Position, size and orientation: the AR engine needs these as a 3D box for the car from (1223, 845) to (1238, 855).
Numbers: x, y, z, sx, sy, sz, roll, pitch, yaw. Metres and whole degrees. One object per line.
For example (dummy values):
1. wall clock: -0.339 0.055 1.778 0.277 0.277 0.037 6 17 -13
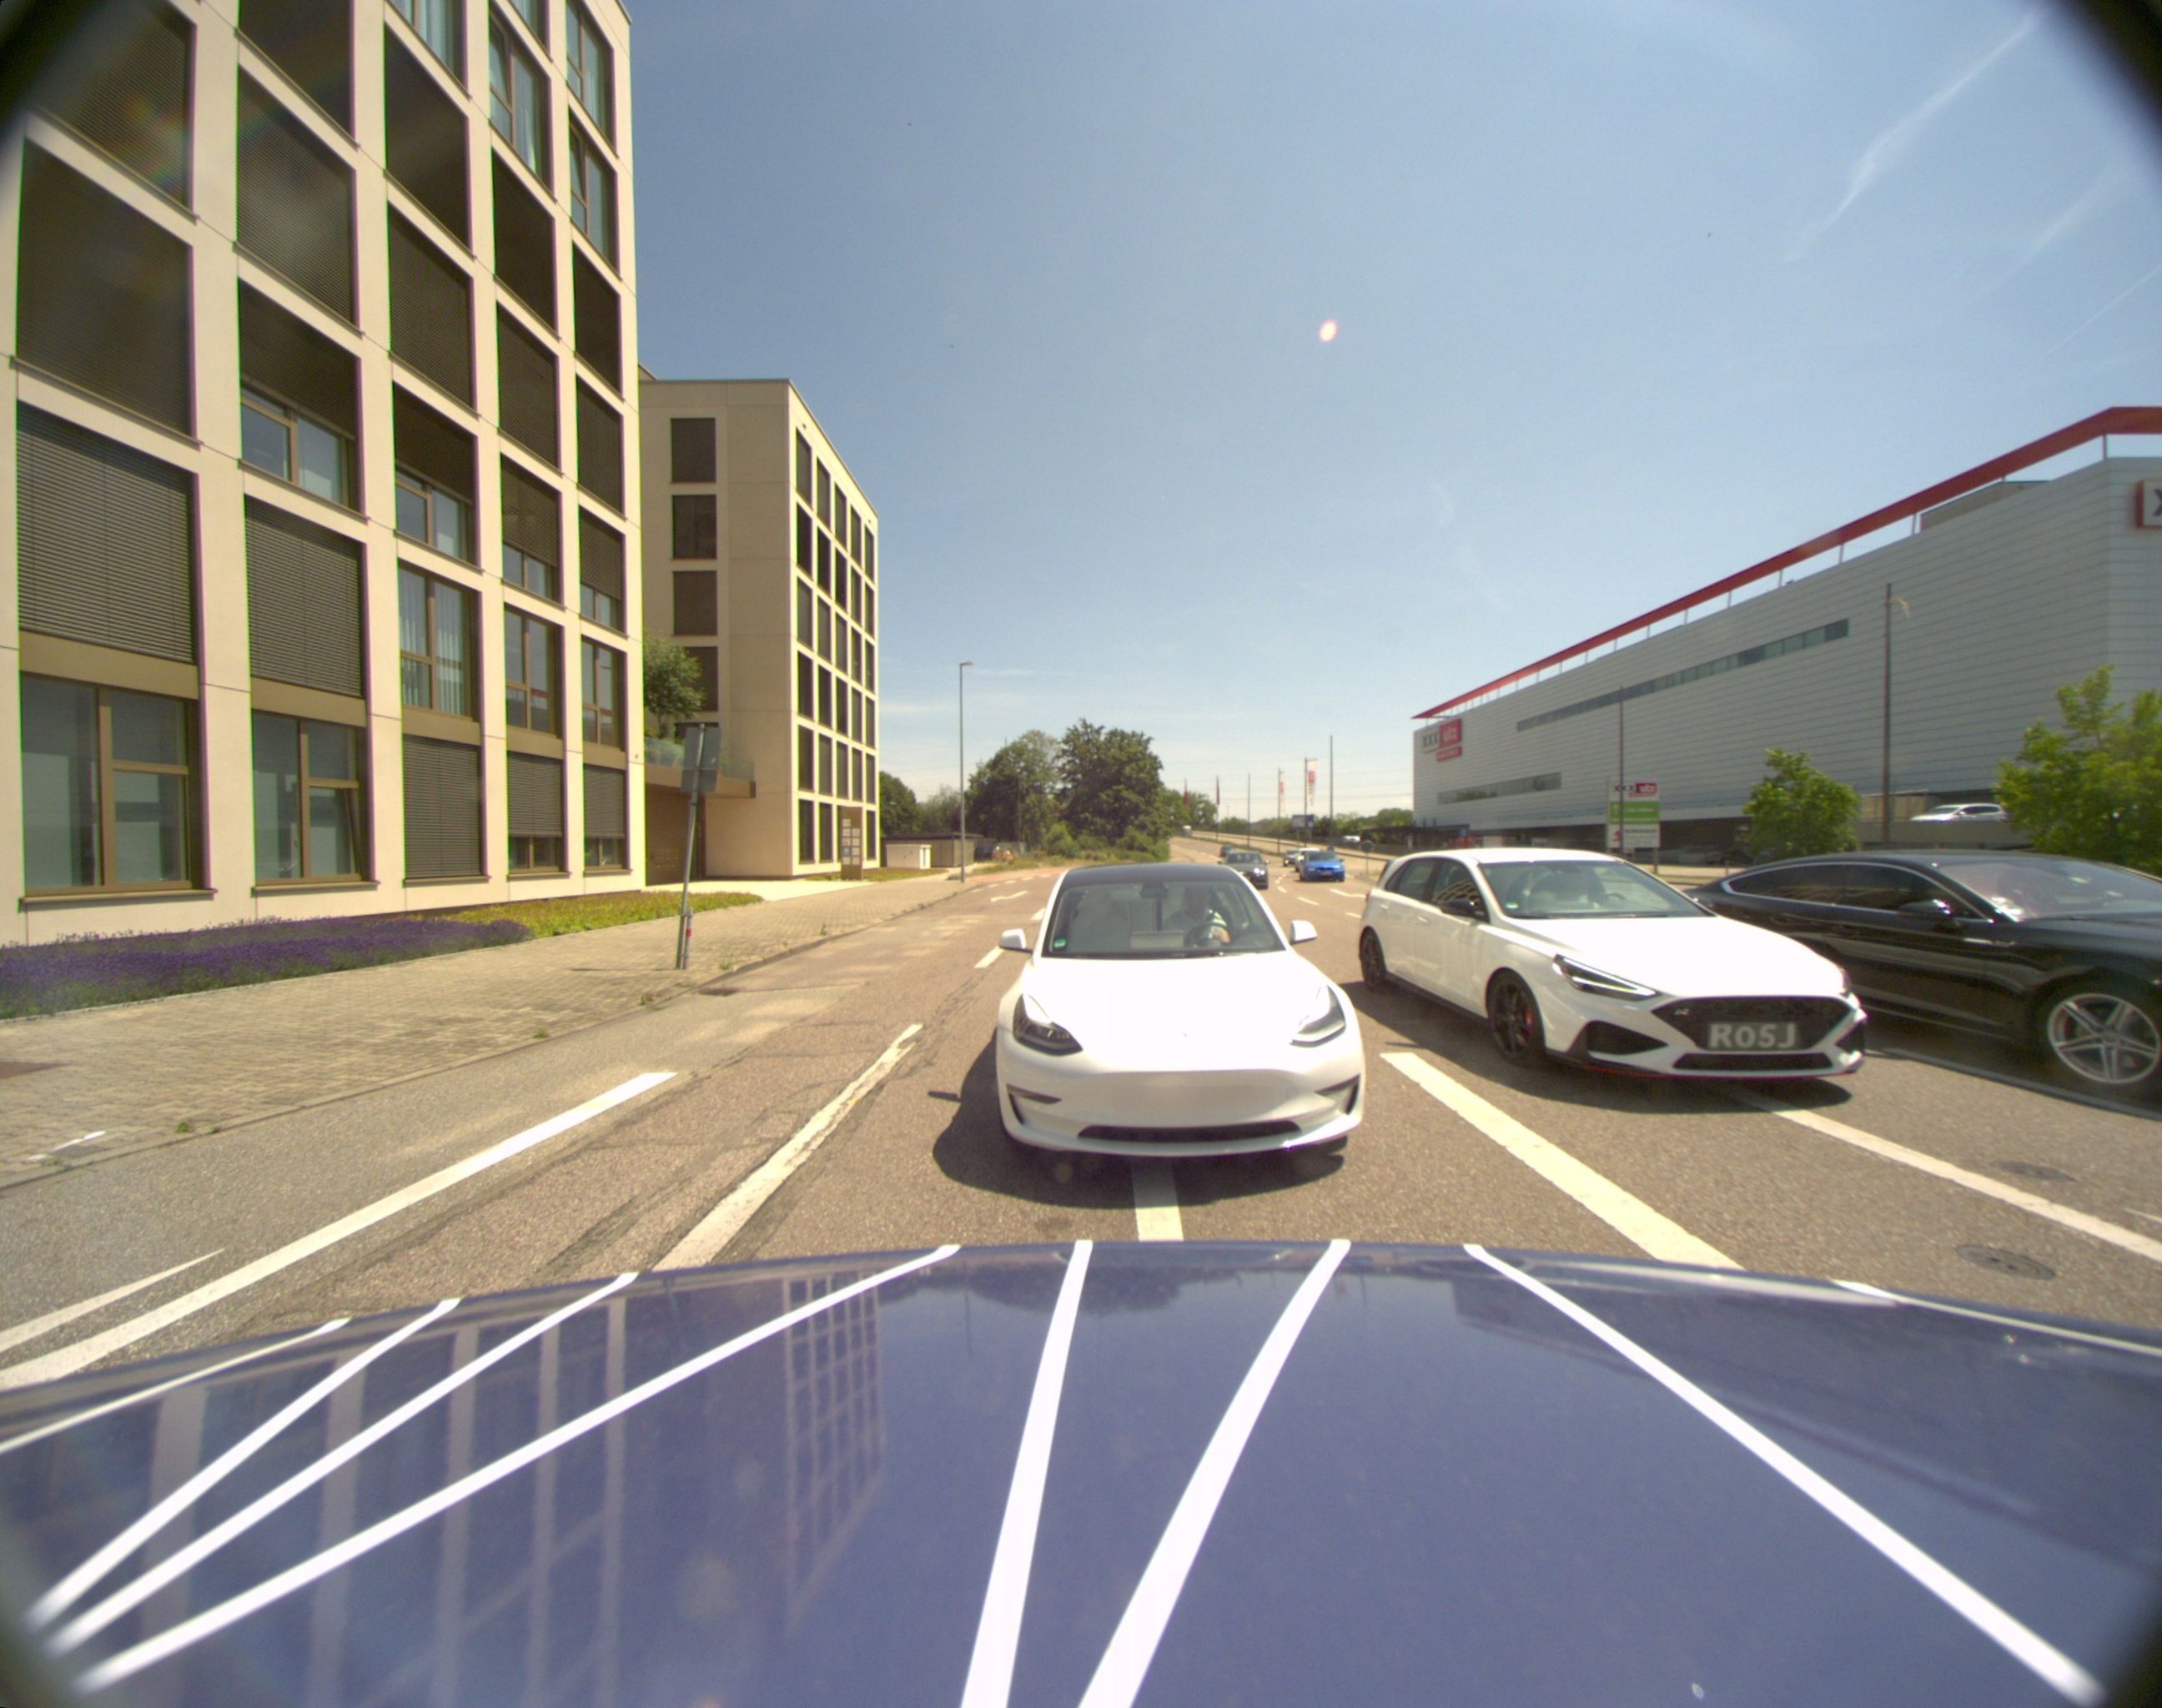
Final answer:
1. car: 18.974 -0.519 96.470 1.474 1.182 3.353 -1 1 6

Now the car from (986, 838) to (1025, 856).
1. car: -8.582 -0.772 86.100 4.005 1.942 1.996 0 1 -24

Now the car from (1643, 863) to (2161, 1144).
1. car: 6.556 0.800 5.500 1.752 1.382 4.534 -1 0 3

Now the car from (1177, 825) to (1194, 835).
1. car: 21.192 -4.889 154.297 1.837 1.840 4.835 -1 1 -12

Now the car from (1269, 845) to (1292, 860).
1. car: 21.898 -0.162 83.447 1.837 1.652 4.001 0 1 6

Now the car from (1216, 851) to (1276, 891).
1. car: 6.217 0.602 29.048 1.801 1.369 4.408 0 1 6

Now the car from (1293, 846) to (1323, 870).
1. car: 15.685 0.244 52.563 1.677 1.566 4.060 -1 1 13

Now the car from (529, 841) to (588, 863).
1. car: -46.284 -0.193 67.428 1.997 1.841 4.003 0 1 10

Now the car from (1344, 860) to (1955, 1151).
1. car: 3.671 0.804 6.049 1.735 1.441 4.230 -1 0 1

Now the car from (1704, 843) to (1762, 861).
1. car: 61.178 -0.198 71.321 3.746 1.611 1.912 0 1 1

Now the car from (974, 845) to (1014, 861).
1. car: -9.375 -0.163 81.985 4.005 1.652 1.834 0 1 -23

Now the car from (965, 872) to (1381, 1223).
1. car: 0.379 0.939 5.692 1.880 1.417 4.405 -2 0 -1

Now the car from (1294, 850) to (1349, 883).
1. car: 11.151 0.539 35.539 1.800 1.405 4.409 0 1 9
